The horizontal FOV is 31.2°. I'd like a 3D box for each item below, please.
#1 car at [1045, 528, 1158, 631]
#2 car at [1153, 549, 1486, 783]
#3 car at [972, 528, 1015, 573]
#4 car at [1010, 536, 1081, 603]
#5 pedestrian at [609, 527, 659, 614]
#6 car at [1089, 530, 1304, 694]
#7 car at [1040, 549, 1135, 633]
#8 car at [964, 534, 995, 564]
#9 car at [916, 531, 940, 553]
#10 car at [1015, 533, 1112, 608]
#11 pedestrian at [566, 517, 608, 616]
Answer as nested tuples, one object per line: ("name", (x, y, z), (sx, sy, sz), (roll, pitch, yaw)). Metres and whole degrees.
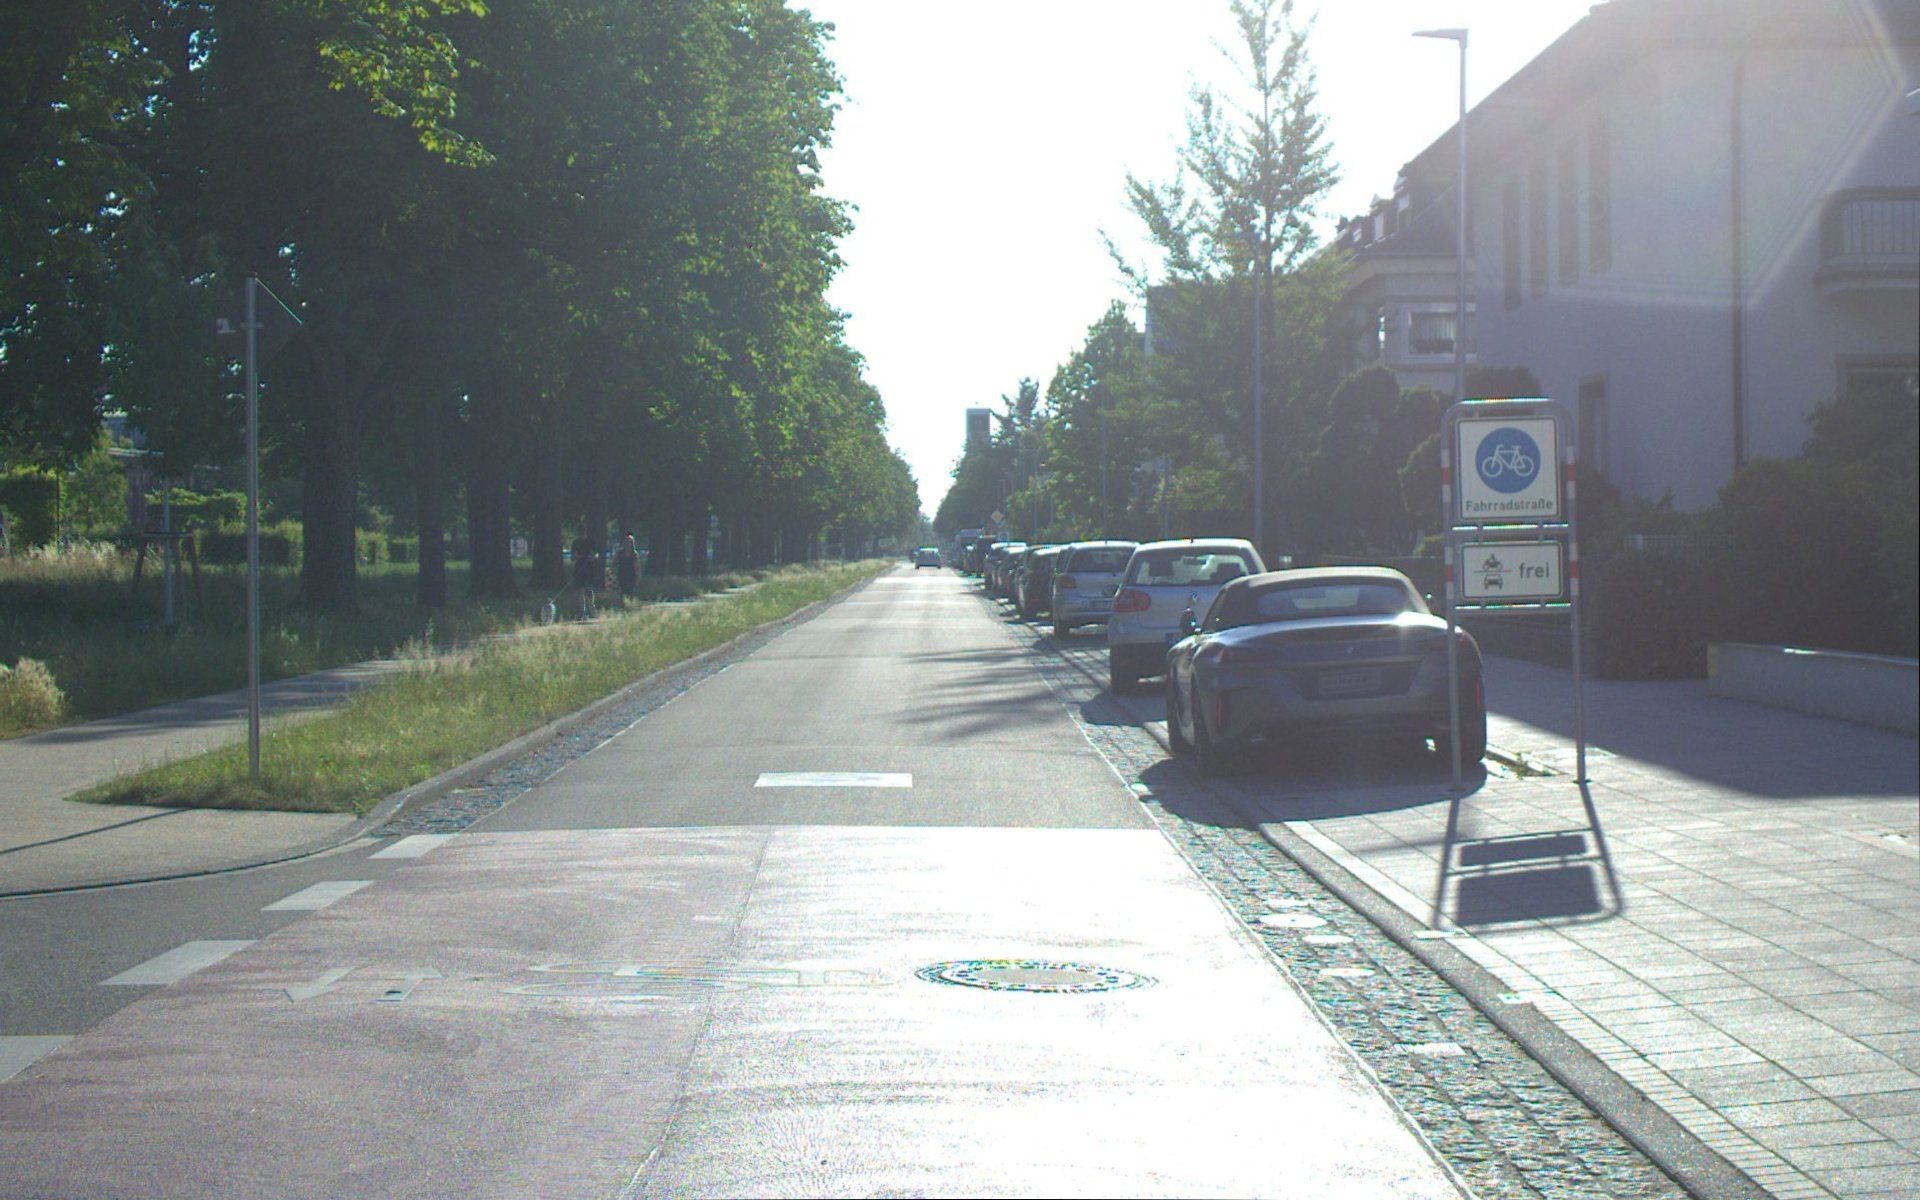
("car", (2.230, -0.348, 54.943), (1.627, 1.499, 3.633), (-2, 2, 0))
("car", (2.367, 0.383, 23.605), (1.774, 1.284, 4.273), (-3, 2, 0))
("car", (1.208, -1.768, 122.760), (1.498, 1.561, 3.266), (-1, 1, 1))
("car", (2.000, -0.736, 81.055), (1.592, 1.504, 3.592), (-1, 1, 0))
("pedestrian", (-6.073, -0.554, 64.126), (0.783, 1.609, 0.952), (0, 1, 3))
("car", (2.347, 0.075, 35.059), (1.744, 1.469, 3.922), (-4, 1, -1))
("car", (2.427, -0.188, 64.605), (1.658, 1.489, 3.715), (-2, 1, 3))
("car", (1.053, -2.744, 184.789), (1.652, 1.536, 3.266), (1, 1, 1))
("car", (-2.280, -4.116, 243.649), (1.652, 1.536, 3.267), (0, 1, 0))
("car", (2.119, -0.616, 71.370), (1.736, 1.444, 4.197), (-2, 1, -2))
("pedestrian", (-6.930, -0.621, 63.963), (0.624, 1.824, 0.886), (0, 1, 3))
